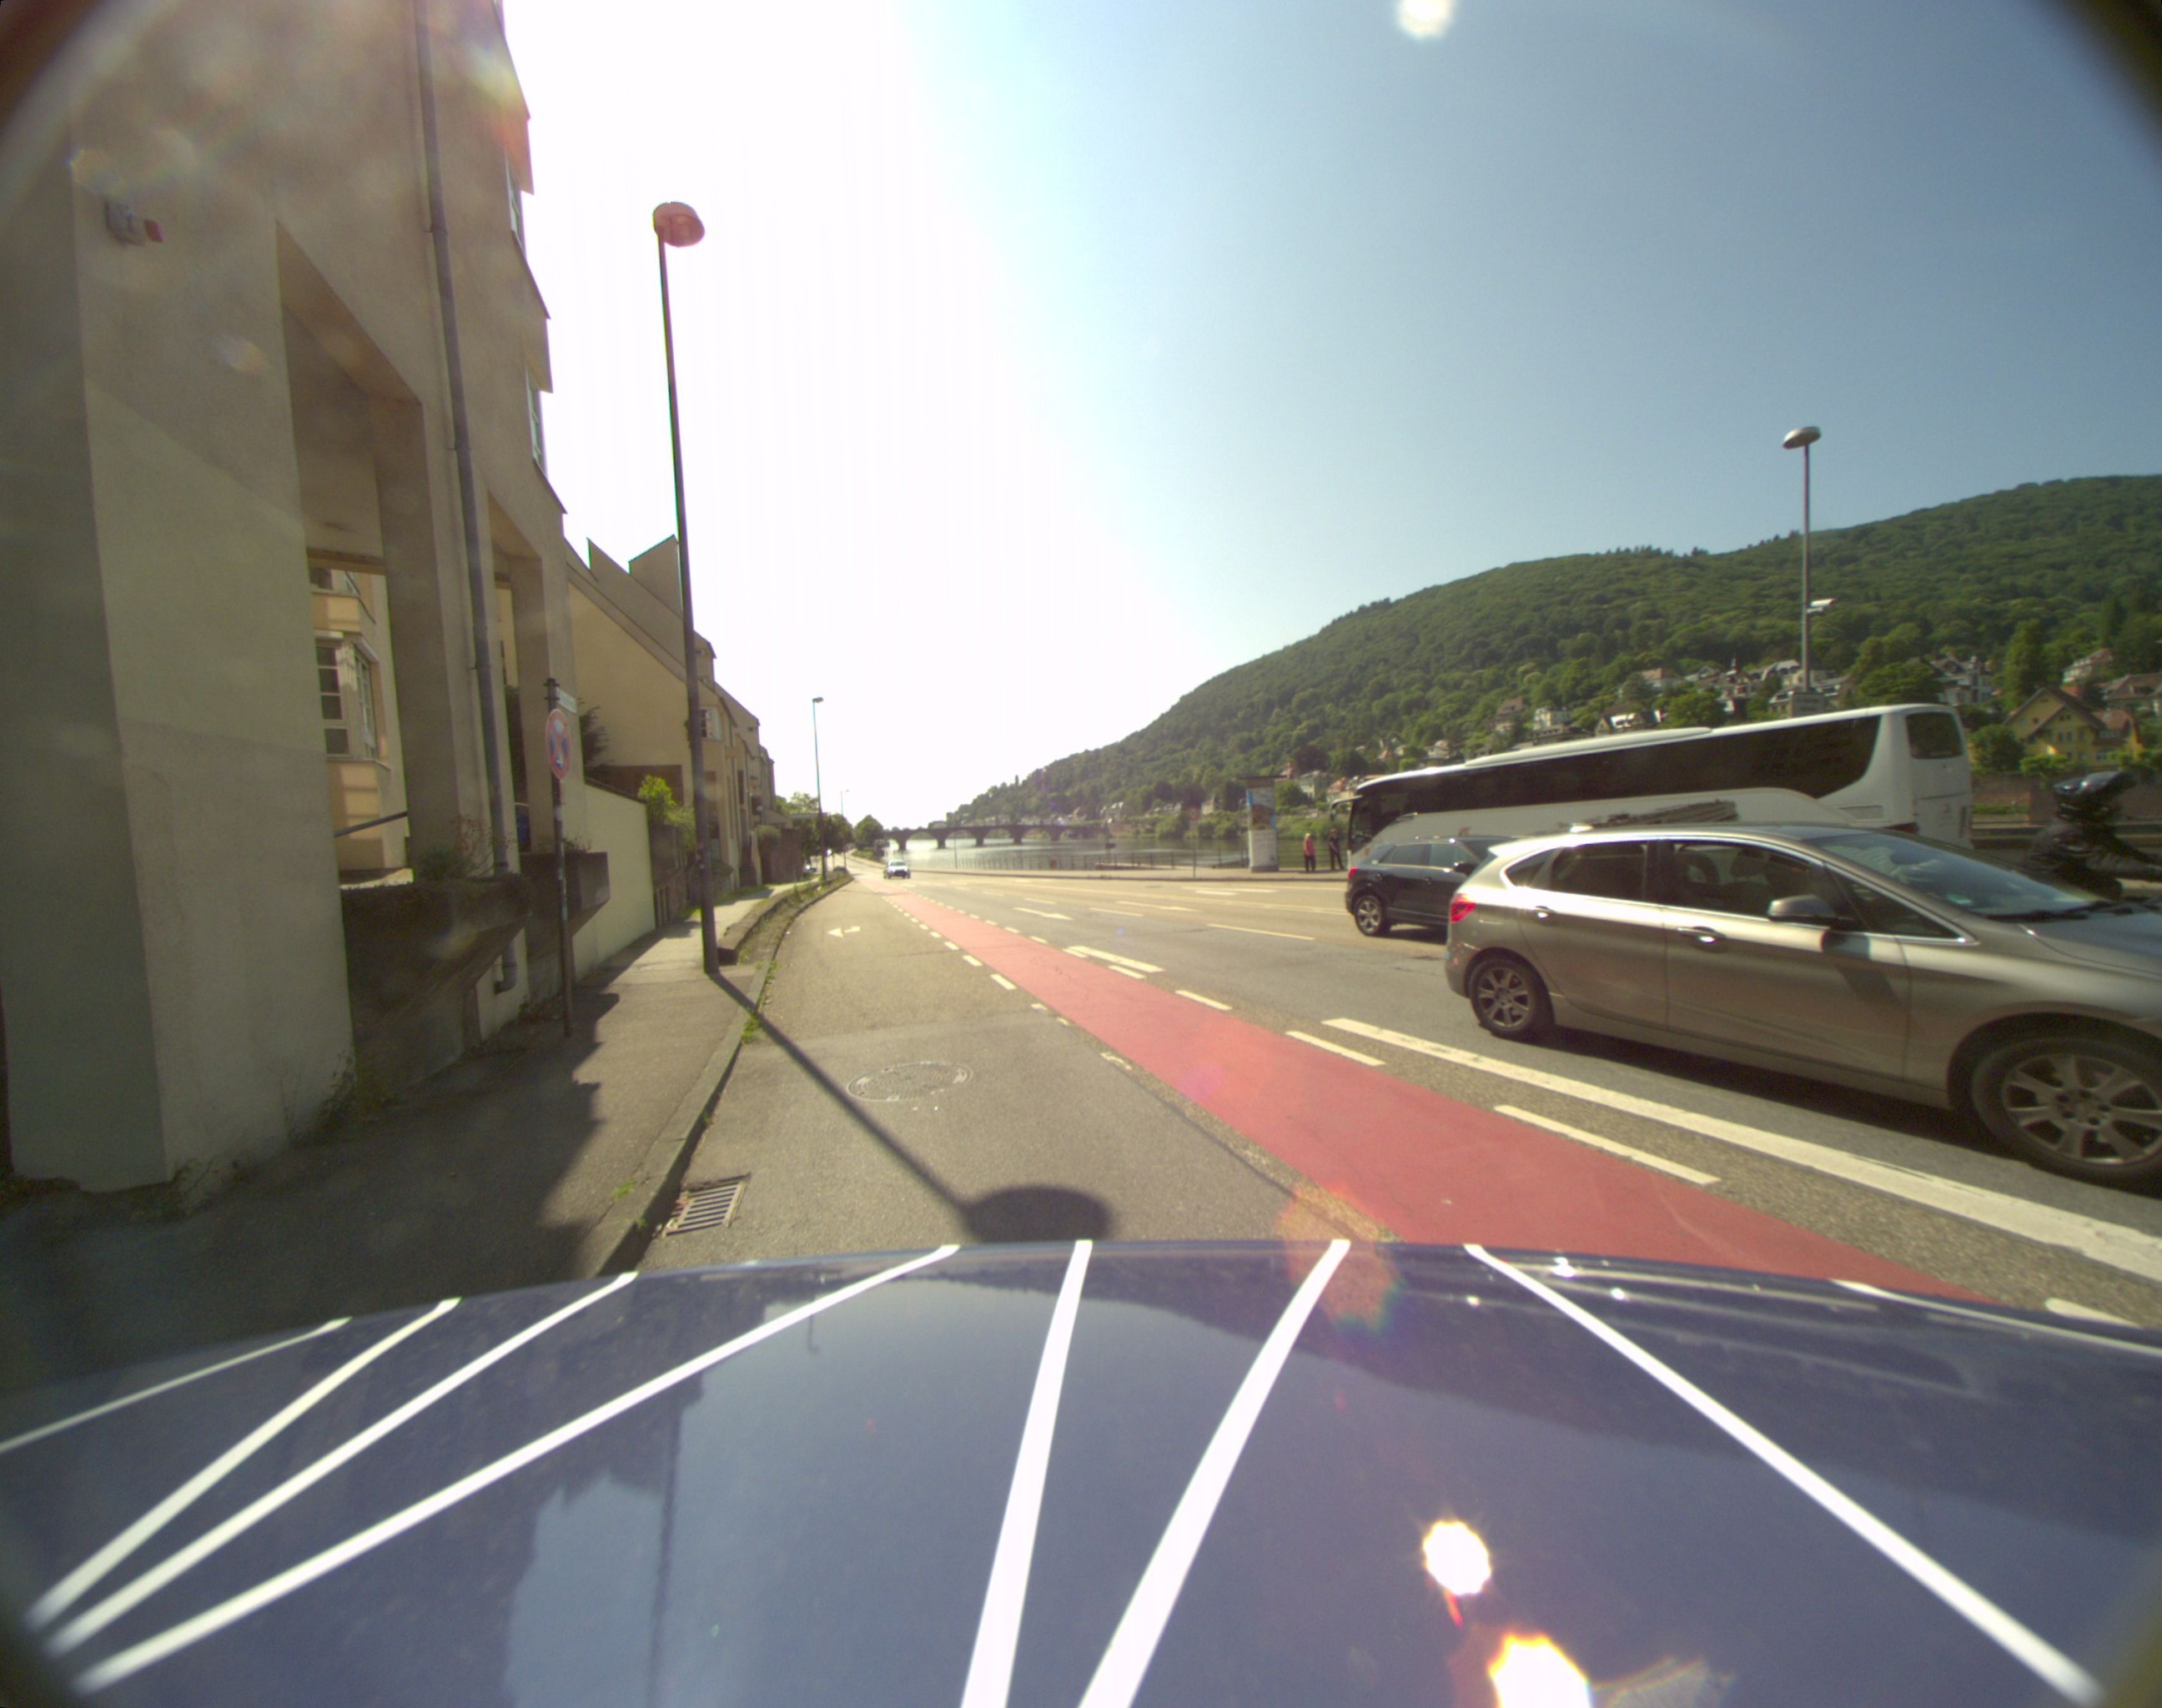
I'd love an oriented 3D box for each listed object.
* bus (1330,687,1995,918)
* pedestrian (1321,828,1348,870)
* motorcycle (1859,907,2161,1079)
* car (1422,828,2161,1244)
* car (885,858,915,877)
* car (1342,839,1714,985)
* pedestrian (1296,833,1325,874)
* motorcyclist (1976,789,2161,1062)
[{"bbox_3d":[12.306,-0.896,19.088,2.969,3.780,13.217,-7,2,-25],"label":"bus"},{"bbox_3d":[10.576,-0.198,31.689,0.686,1.699,0.771,-4,2,-38],"label":"pedestrian"},{"bbox_3d":[7.086,0.908,4.960,1.042,0.914,2.600,-2,1,-21],"label":"motorcycle"},{"bbox_3d":[4.420,0.658,4.469,1.896,1.512,4.297,-3,1,-21],"label":"car"},{"bbox_3d":[-14.653,1.071,61.287,2.001,1.434,3.994,-2,1,-18],"label":"car"},{"bbox_3d":[5.725,0.595,10.410,1.877,1.505,4.143,-3,1,-20],"label":"car"},{"bbox_3d":[9.274,-0.026,30.754,0.706,1.612,0.815,-4,2,-30],"label":"pedestrian"},{"bbox_3d":[7.039,0.422,5.020,1.080,1.674,1.154,-2,1,-21],"label":"motorcyclist"}]
